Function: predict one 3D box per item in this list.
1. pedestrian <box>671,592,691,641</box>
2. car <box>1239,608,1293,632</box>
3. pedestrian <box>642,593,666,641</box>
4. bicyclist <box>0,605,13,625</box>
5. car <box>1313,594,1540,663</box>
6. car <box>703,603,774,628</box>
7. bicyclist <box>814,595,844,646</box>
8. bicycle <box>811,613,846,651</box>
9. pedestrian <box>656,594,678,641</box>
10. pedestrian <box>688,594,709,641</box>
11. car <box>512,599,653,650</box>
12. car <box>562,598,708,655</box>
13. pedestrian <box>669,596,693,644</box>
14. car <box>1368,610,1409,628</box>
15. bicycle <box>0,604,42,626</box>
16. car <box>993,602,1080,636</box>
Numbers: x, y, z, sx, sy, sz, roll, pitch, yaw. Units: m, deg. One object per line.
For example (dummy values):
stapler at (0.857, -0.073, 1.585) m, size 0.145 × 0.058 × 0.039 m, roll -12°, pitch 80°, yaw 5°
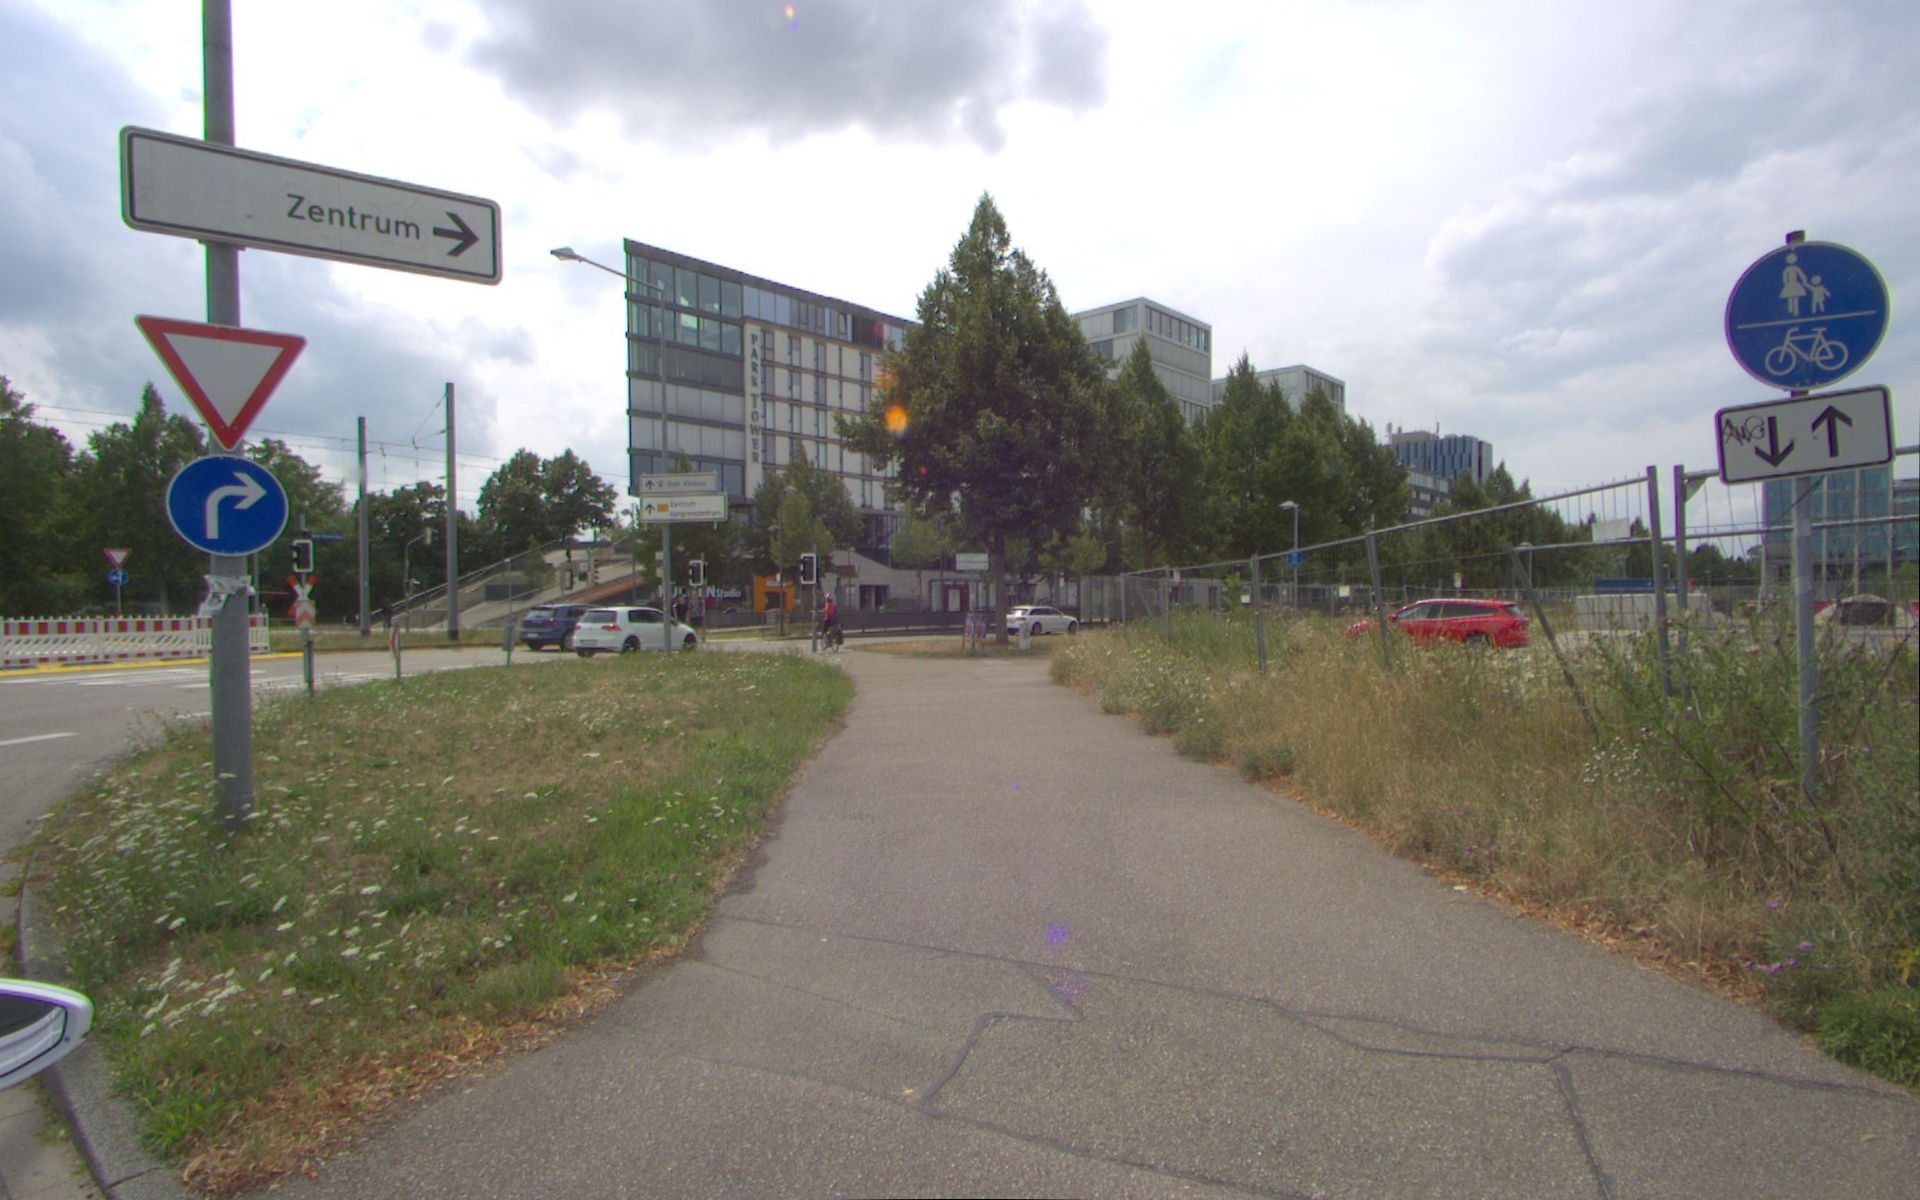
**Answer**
pedestrian at (-10.896, 0.641, 39.139) m, size 0.546 × 1.887 × 0.527 m, roll 1°, pitch 1°, yaw 37°
car at (22.204, 1.422, 72.603) m, size 1.977 × 1.639 × 4.713 m, roll 0°, pitch 0°, yaw 41°
pedestrian at (-11.633, 0.650, 38.037) m, size 0.546 × 1.805 × 0.685 m, roll 1°, pitch 1°, yaw 37°
bicyclist at (-42.969, 0.661, 44.833) m, size 0.647 × 0.895 × 0.605 m, roll 0°, pitch -1°, yaw -21°
car at (11.951, 0.691, 25.839) m, size 5.072 × 1.625 × 1.777 m, roll 0°, pitch 0°, yaw 37°
car at (-13.607, 0.946, 61.569) m, size 1.829 × 1.477 × 3.963 m, roll 1°, pitch 0°, yaw 44°
bicyclist at (-4.328, 0.651, 33.058) m, size 0.778 × 1.649 × 1.046 m, roll 0°, pitch 1°, yaw -19°
bicycle at (-4.383, 1.043, 33.227) m, size 0.778 × 1.183 × 2.037 m, roll 0°, pitch 0°, yaw -18°
pedestrian at (-11.325, 0.664, 38.709) m, size 0.546 × 1.805 × 0.629 m, roll 1°, pitch 1°, yaw 37°
pedestrian at (-10.150, 0.669, 38.897) m, size 0.546 × 1.805 × 0.576 m, roll 1°, pitch 1°, yaw 37°
car at (-12.010, 0.740, 32.125) m, size 1.774 × 1.517 × 4.099 m, roll 0°, pitch 0°, yaw 28°
car at (-9.309, 0.726, 29.069) m, size 1.771 × 1.517 × 4.250 m, roll 0°, pitch 0°, yaw 21°
pedestrian at (-10.692, 0.750, 38.383) m, size 0.546 × 1.805 × 0.685 m, roll 1°, pitch 1°, yaw 37°
car at (35.339, 1.527, 82.560) m, size 1.978 × 1.392 × 3.966 m, roll 0°, pitch 0°, yaw 42°
bicycle at (-42.733, 0.681, 44.932) m, size 2.167 × 0.950 × 0.613 m, roll 0°, pitch -1°, yaw -21°
car at (3.971, 0.939, 51.198) m, size 1.978 × 1.639 × 4.711 m, roll 0°, pitch 0°, yaw 43°
